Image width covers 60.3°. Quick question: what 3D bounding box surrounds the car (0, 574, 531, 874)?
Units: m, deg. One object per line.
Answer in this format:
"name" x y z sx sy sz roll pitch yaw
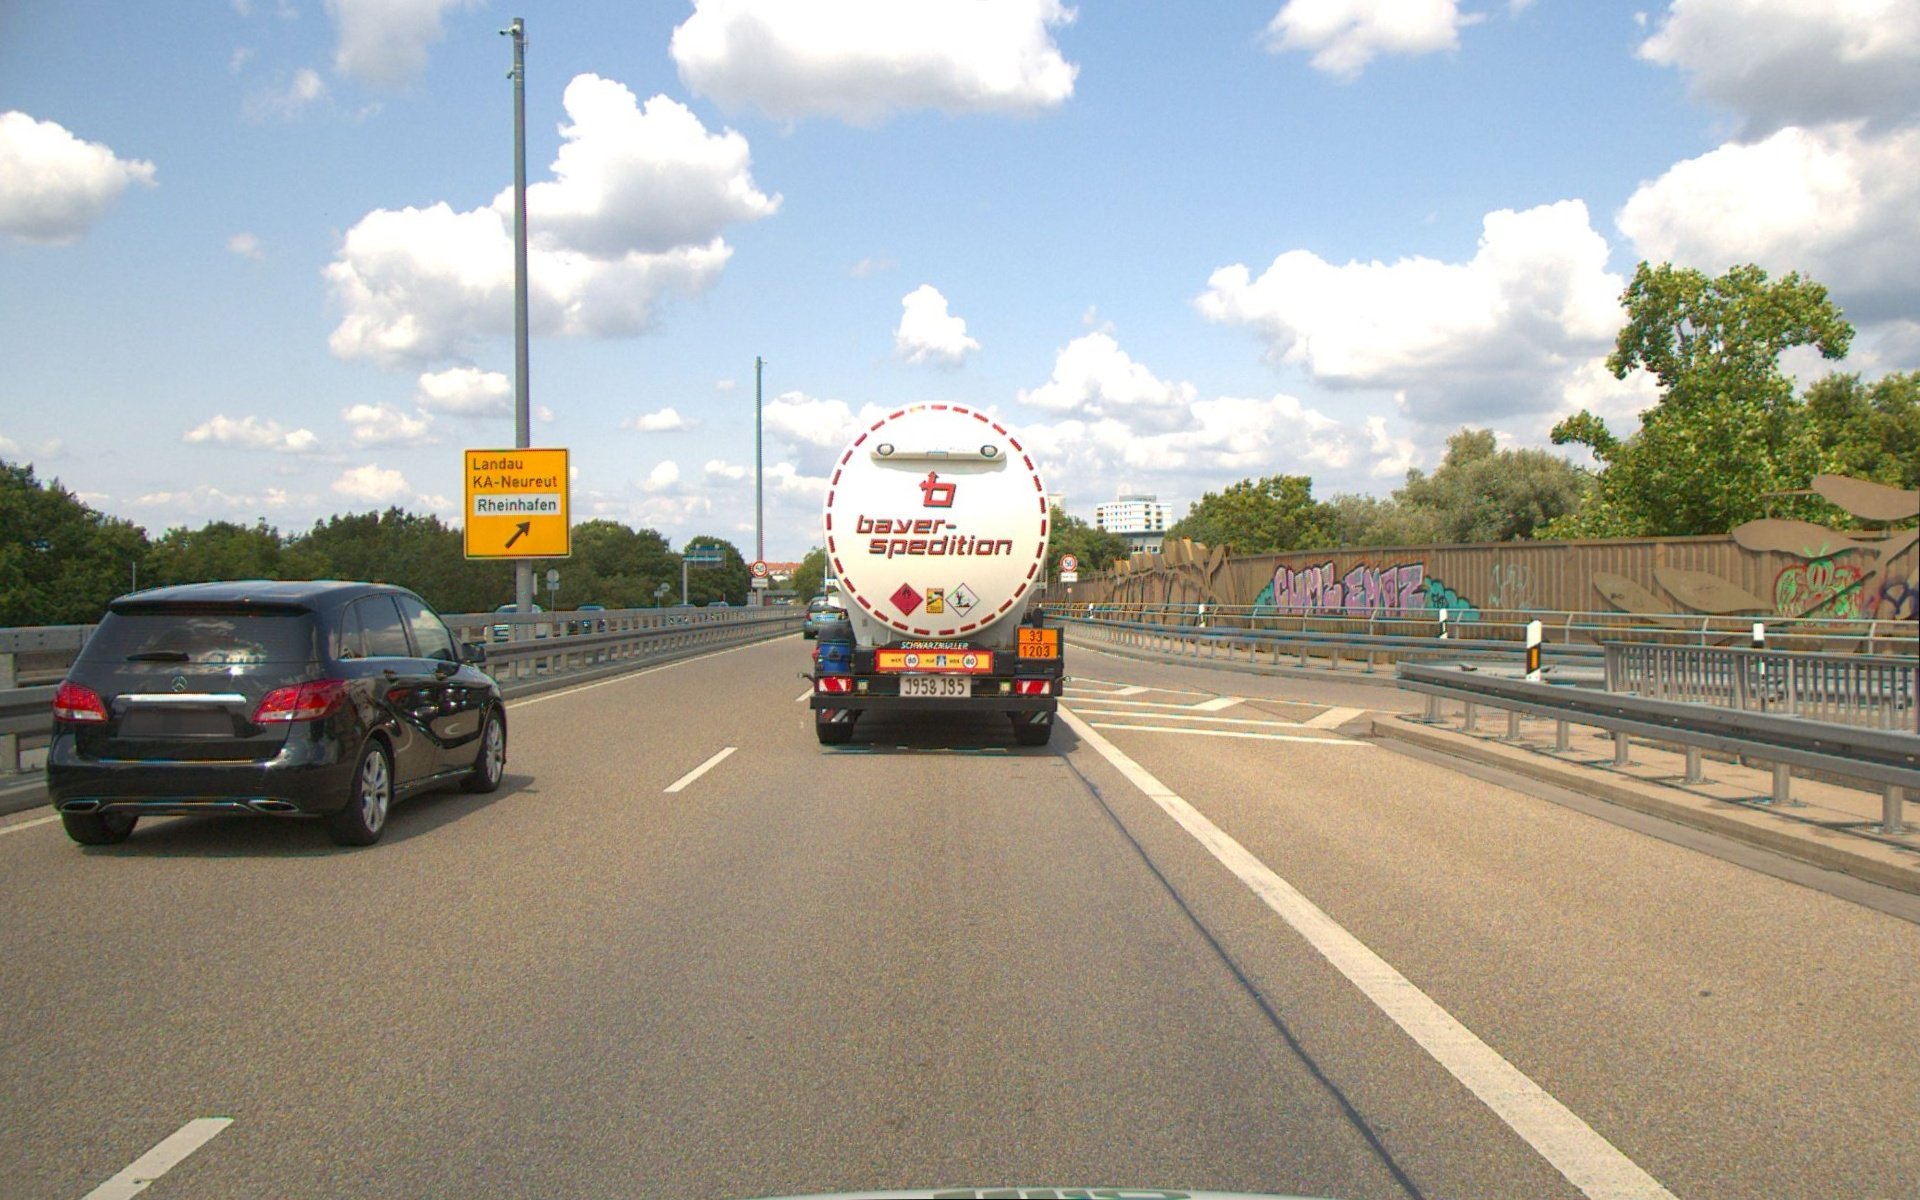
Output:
"car" -4.273 0.654 11.019 1.677 1.554 4.592 1 0 -1

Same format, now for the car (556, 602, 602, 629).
"car" -20.732 0.825 90.094 1.644 1.426 3.999 0 0 -1

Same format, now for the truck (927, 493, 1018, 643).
"truck" 0.328 -1.071 58.602 2.837 4.892 8.026 1 0 -2

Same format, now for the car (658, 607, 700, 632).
"car" -17.195 1.175 101.377 1.740 1.445 4.621 0 0 0

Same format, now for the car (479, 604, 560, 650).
"car" -16.513 0.990 62.214 1.761 1.624 4.711 1 0 0

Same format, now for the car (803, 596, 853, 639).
"car" -5.043 0.638 63.506 1.712 1.558 3.999 0 0 -2

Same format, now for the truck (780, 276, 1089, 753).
"truck" -0.354 -0.802 19.588 2.837 4.445 8.026 1 0 -2

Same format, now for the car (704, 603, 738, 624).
"car" -17.412 1.003 120.754 1.873 1.489 4.518 0 0 -1

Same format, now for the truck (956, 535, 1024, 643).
"truck" 1.381 -0.503 80.155 2.837 4.892 8.026 1 0 -2
